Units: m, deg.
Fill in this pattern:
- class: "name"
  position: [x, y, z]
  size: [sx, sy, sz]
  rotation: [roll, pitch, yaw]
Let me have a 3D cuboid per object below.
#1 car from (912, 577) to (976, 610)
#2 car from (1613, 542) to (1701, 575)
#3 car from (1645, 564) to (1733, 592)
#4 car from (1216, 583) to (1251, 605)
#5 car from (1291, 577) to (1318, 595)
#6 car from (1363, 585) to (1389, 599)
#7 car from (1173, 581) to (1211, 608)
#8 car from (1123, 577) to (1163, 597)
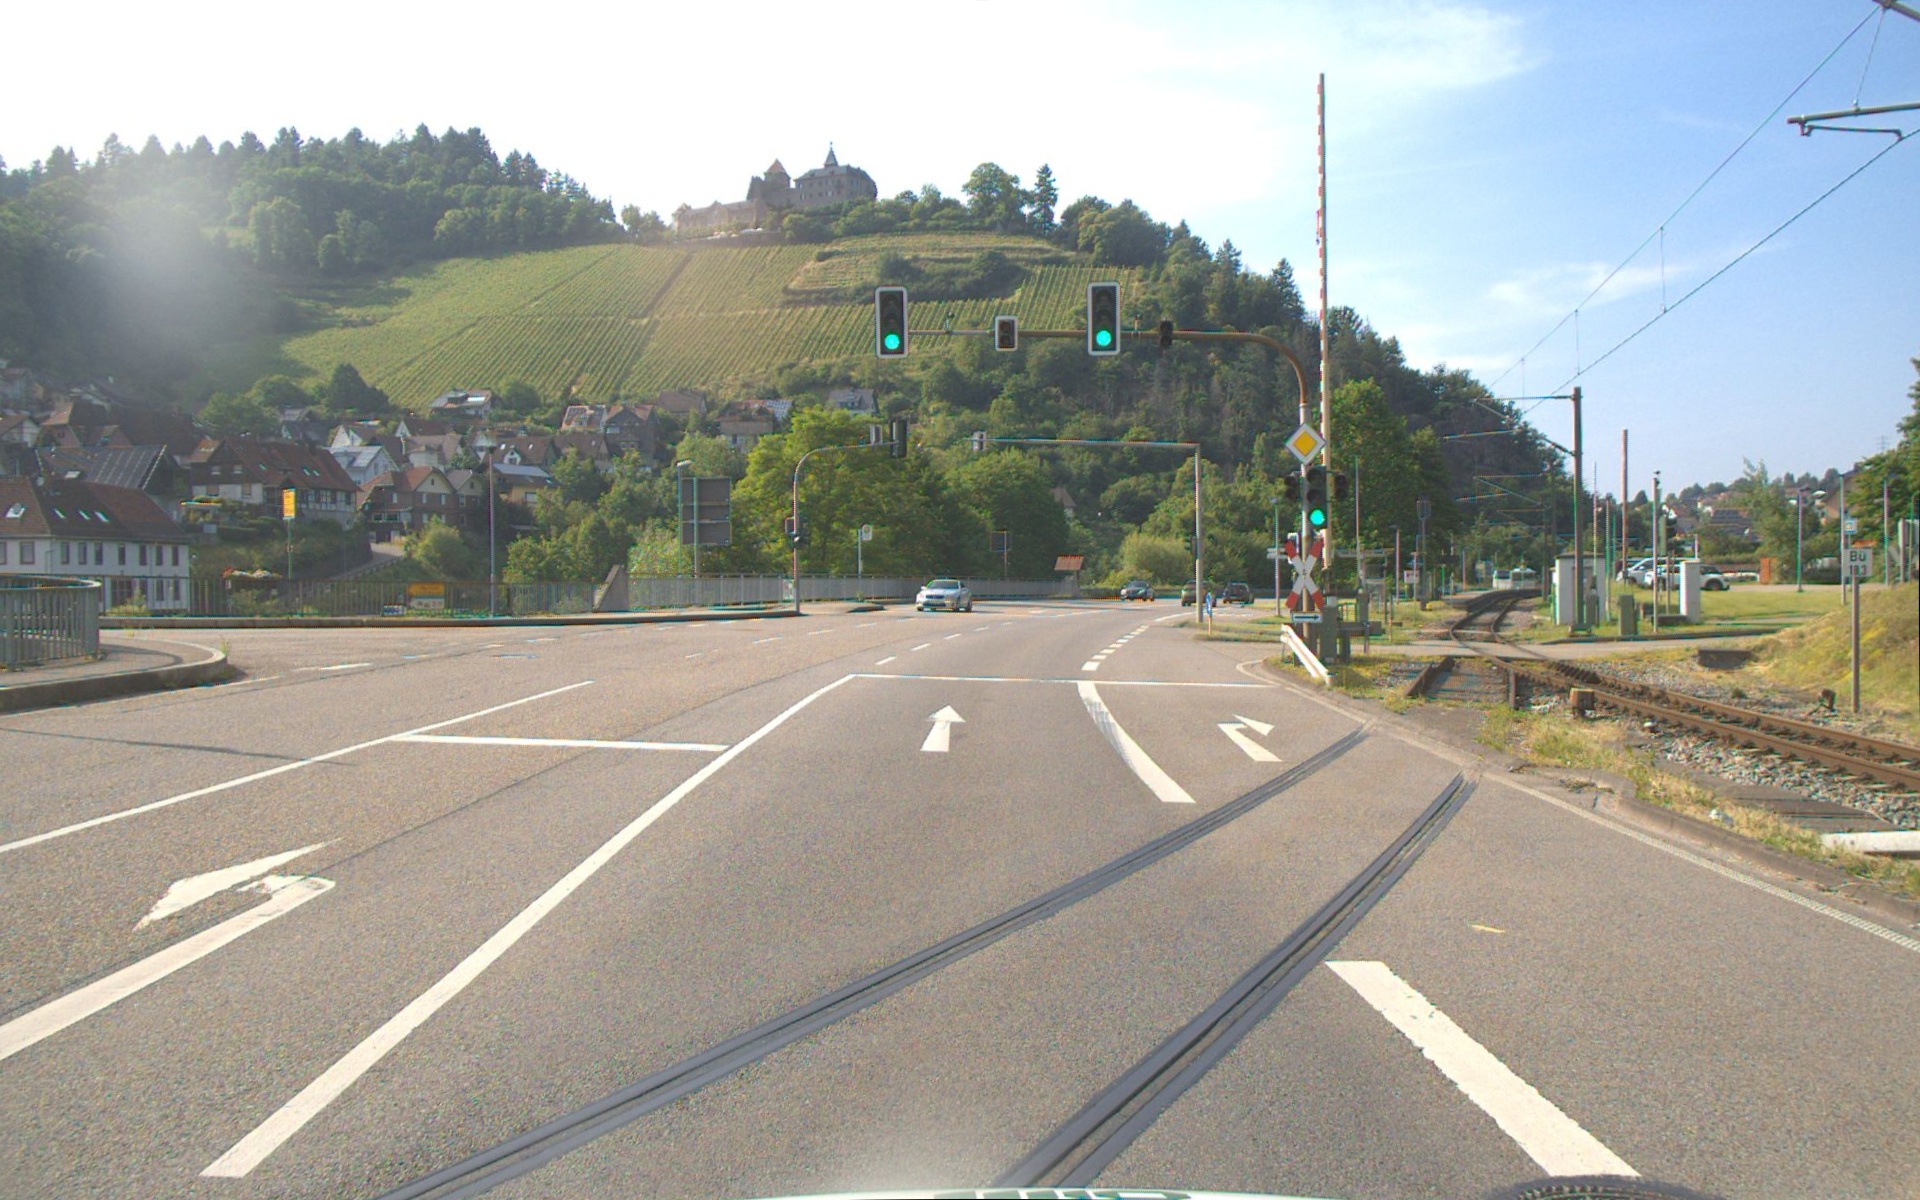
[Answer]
- class: "car"
  position: [-0.628, -0.291, 67.115]
  size: [1.610, 1.253, 4.097]
  rotation: [1, 1, 14]
- class: "car"
  position: [42.706, -2.533, 101.479]
  size: [4.848, 1.977, 2.142]
  rotation: [0, 1, 20]
- class: "car"
  position: [37.730, -1.167, 85.690]
  size: [4.011, 1.422, 1.810]
  rotation: [0, 1, 20]
- class: "car"
  position: [19.184, -0.433, 115.857]
  size: [1.801, 1.485, 3.714]
  rotation: [-1, 0, 19]
- class: "car"
  position: [30.871, -1.253, 148.099]
  size: [1.770, 1.478, 3.647]
  rotation: [-1, 0, 22]
- class: "car"
  position: [43.005, -0.812, 171.018]
  size: [1.773, 1.433, 3.769]
  rotation: [-2, 0, 27]
- class: "car"
  position: [13.524, -0.314, 96.131]
  size: [1.692, 1.482, 3.413]
  rotation: [-1, 0, 16]
- class: "car"
  position: [13.150, -0.930, 118.607]
  size: [1.734, 1.401, 4.645]
  rotation: [2, 1, 20]
